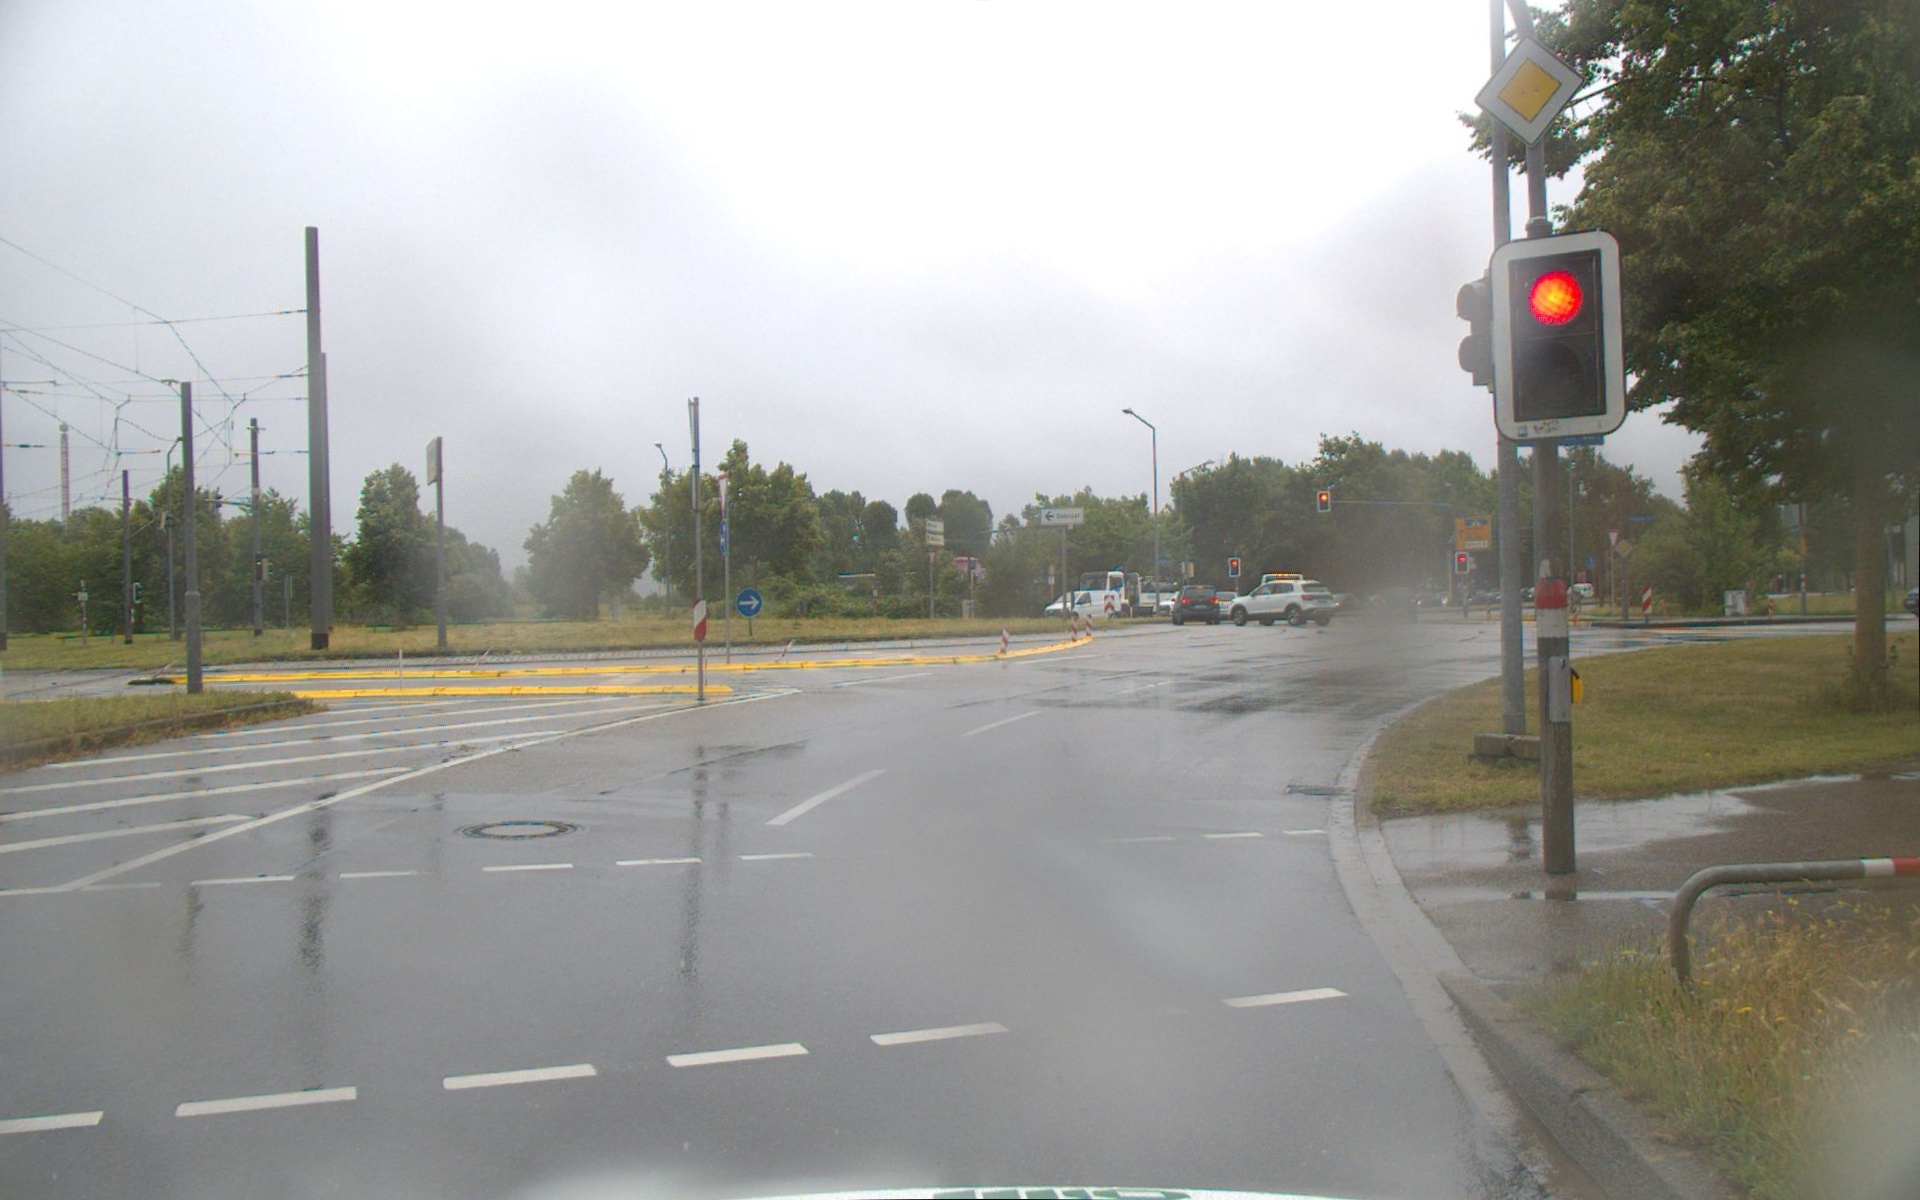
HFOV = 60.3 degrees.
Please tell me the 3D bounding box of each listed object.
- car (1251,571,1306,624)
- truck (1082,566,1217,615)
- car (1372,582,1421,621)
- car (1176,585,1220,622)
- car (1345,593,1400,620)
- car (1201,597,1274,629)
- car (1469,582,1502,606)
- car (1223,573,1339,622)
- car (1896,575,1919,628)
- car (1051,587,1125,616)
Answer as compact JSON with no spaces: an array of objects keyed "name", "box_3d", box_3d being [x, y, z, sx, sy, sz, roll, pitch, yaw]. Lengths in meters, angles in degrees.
[{"name":"car","box_3d":[13.110,-0.086,68.314,1.746,2.072,4.002,1,0,4]},{"name":"truck","box_3d":[11.403,-0.554,99.252,8.680,2.759,1.979,1,-1,-31]},{"name":"car","box_3d":[17.996,0.053,68.236,1.652,1.518,3.254,-1,0,10]},{"name":"car","box_3d":[10.168,0.151,70.845,1.653,1.518,3.253,1,0,4]},{"name":"car","box_3d":[28.183,0.439,112.943,1.965,1.780,3.975,1,0,42]},{"name":"car","box_3d":[12.782,0.604,76.154,3.085,1.396,1.379,1,0,-27]},{"name":"car","box_3d":[45.974,-0.505,144.661,1.758,2.049,3.659,1,0,36]},{"name":"car","box_3d":[11.381,-0.084,58.764,1.670,1.676,3.890,1,0,-40]},{"name":"car","box_3d":[32.209,0.078,52.544,3.905,1.676,1.789,1,0,0]},{"name":"car","box_3d":[7.093,0.076,91.557,1.584,1.518,4.518,1,0,44]}]
